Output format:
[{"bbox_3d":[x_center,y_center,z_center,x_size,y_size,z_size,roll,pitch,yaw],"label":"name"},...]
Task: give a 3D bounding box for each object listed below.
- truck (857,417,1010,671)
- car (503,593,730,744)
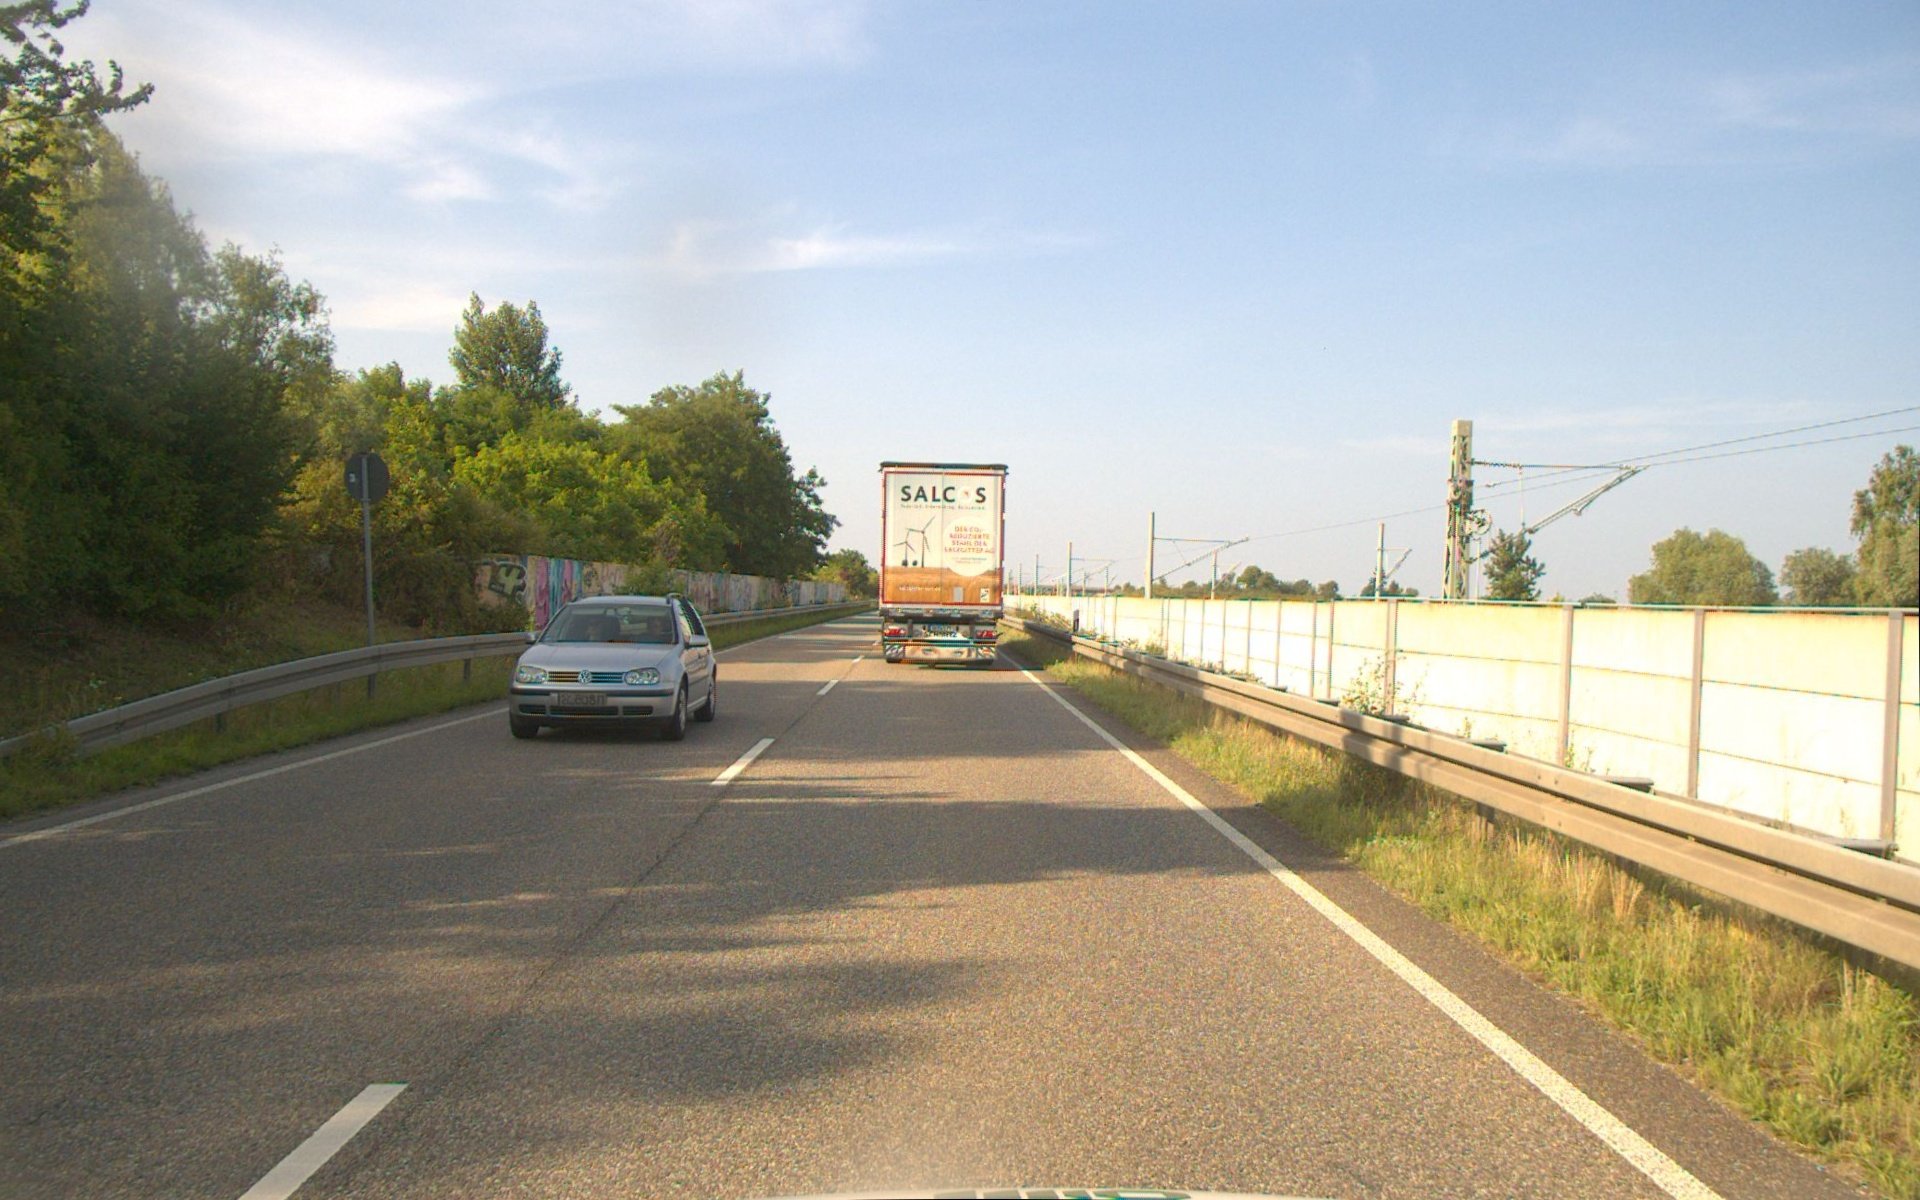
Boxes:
[{"bbox_3d":[-0.776,-1.142,38.867,2.972,5.006,11.678,1,0,-2],"label":"truck"},{"bbox_3d":[-3.592,0.674,18.030,1.685,1.418,4.358,1,0,-2],"label":"car"}]
